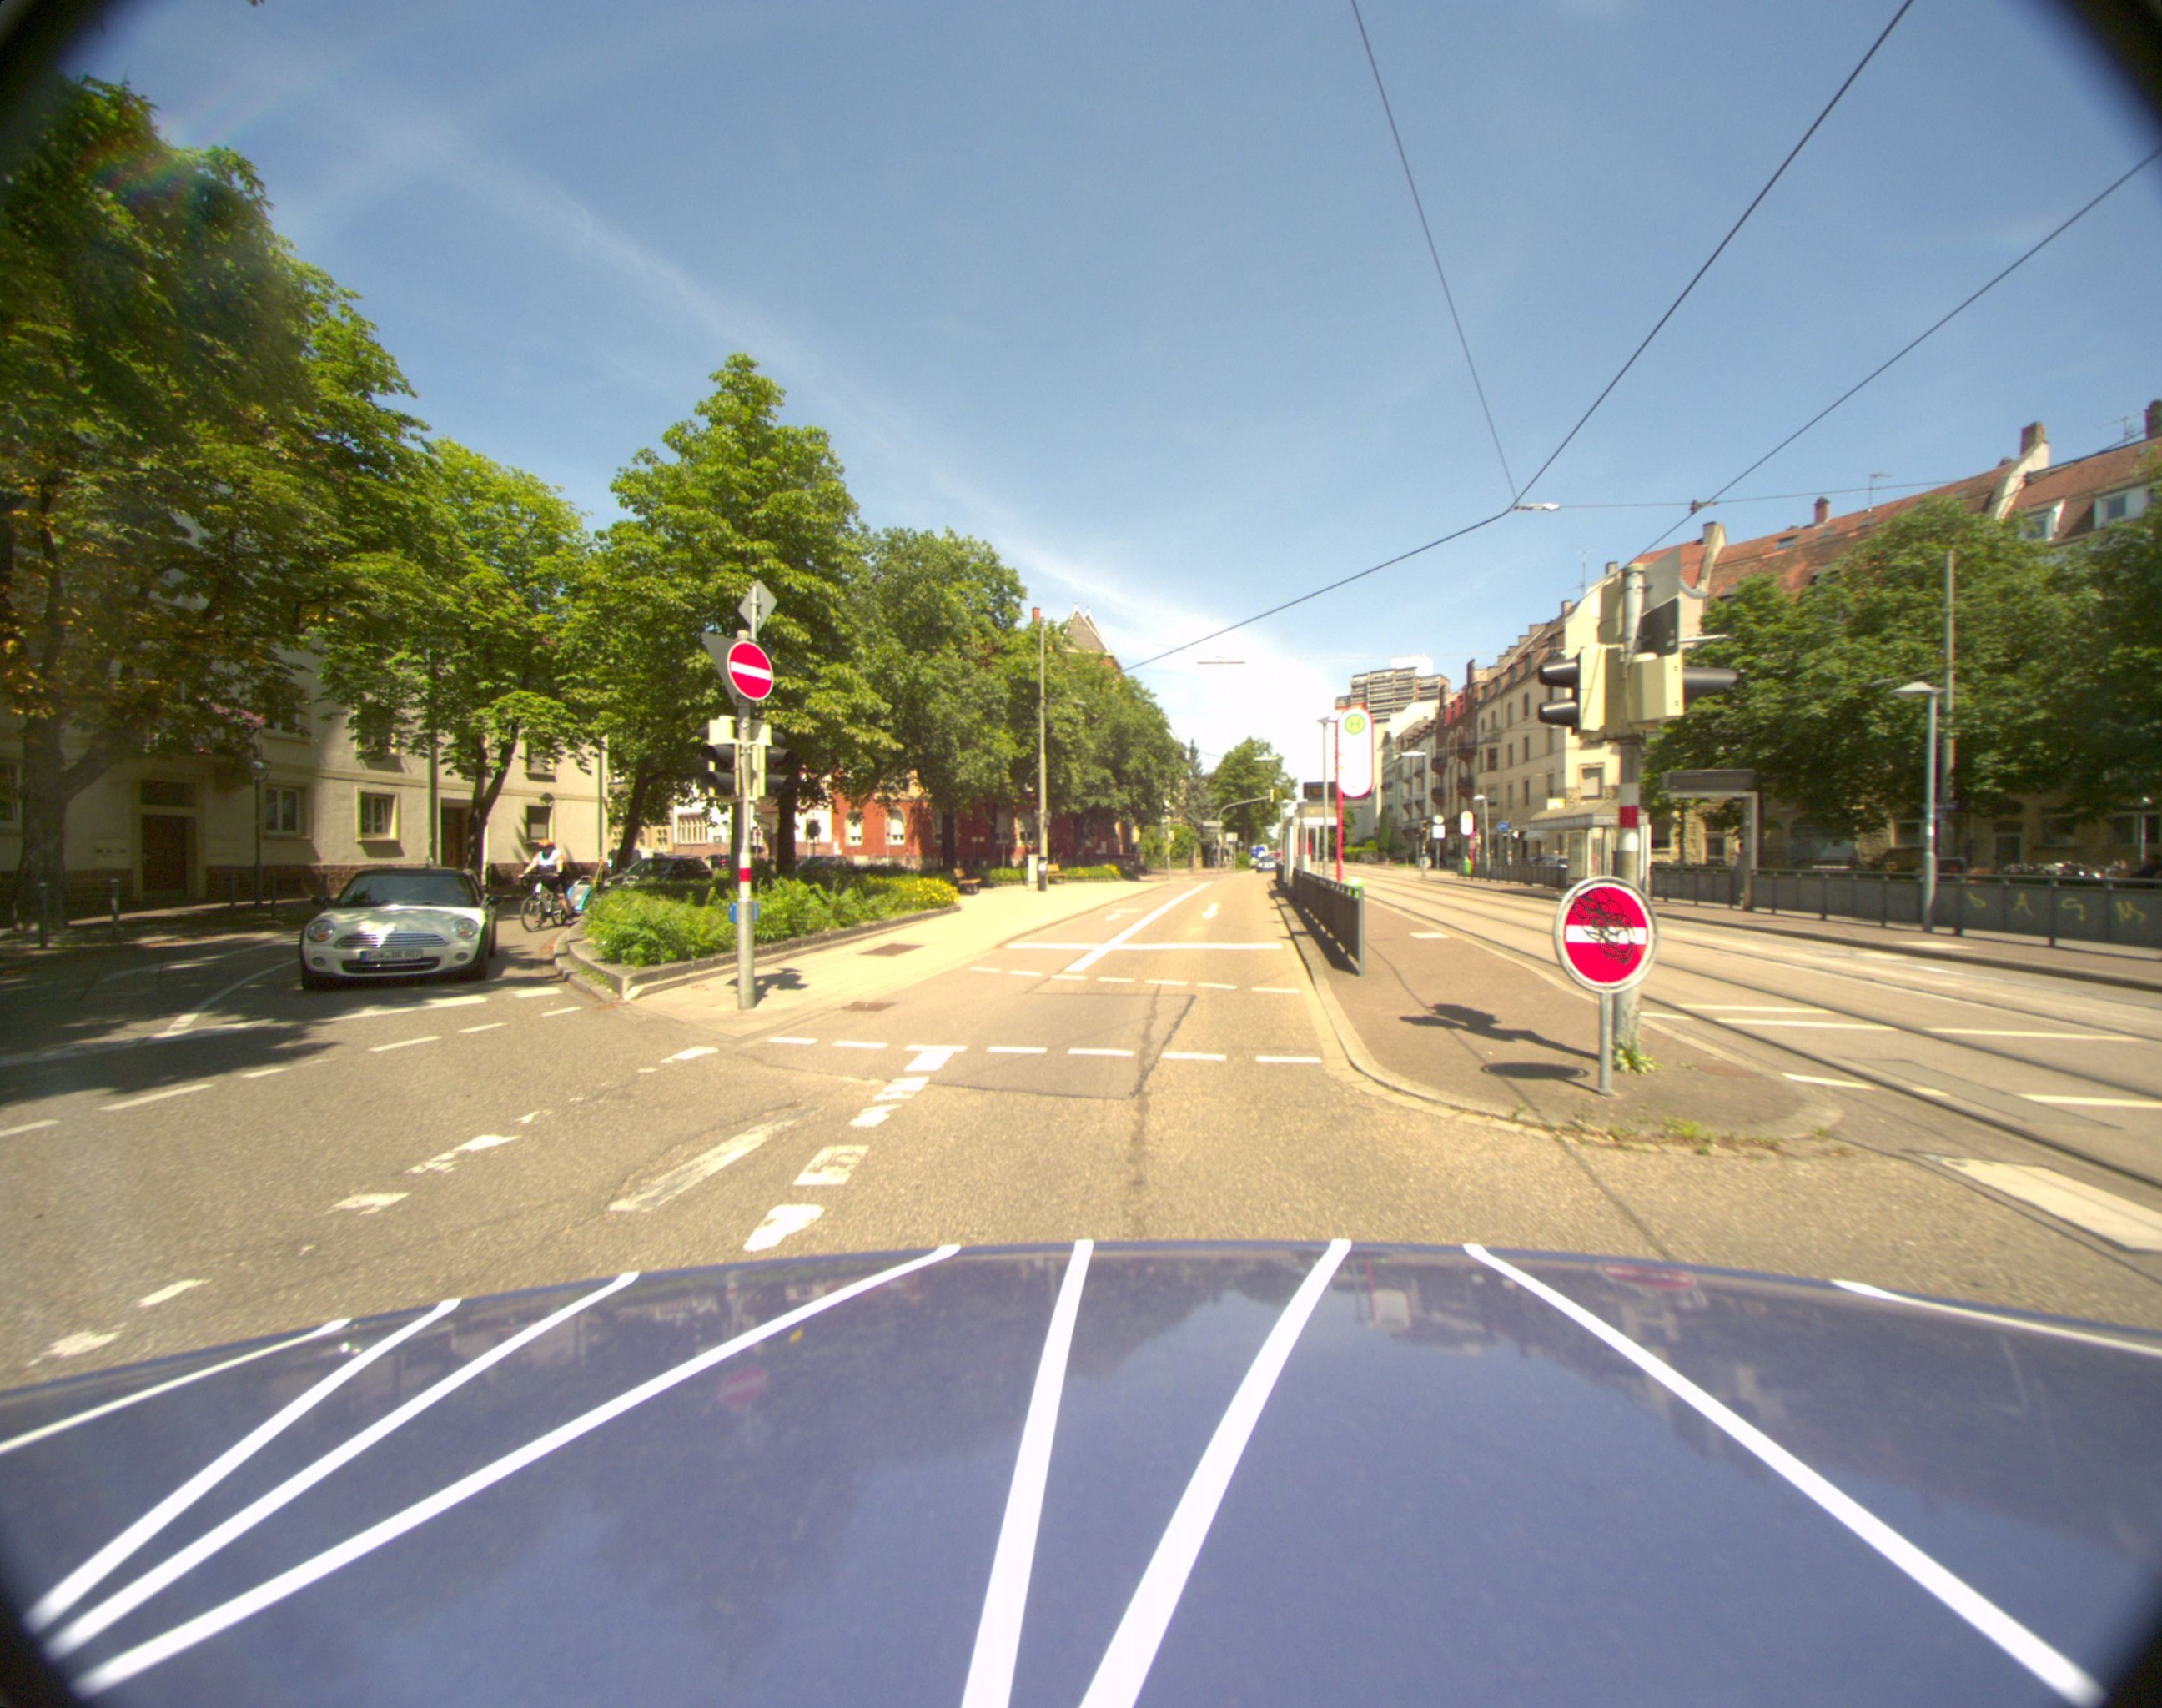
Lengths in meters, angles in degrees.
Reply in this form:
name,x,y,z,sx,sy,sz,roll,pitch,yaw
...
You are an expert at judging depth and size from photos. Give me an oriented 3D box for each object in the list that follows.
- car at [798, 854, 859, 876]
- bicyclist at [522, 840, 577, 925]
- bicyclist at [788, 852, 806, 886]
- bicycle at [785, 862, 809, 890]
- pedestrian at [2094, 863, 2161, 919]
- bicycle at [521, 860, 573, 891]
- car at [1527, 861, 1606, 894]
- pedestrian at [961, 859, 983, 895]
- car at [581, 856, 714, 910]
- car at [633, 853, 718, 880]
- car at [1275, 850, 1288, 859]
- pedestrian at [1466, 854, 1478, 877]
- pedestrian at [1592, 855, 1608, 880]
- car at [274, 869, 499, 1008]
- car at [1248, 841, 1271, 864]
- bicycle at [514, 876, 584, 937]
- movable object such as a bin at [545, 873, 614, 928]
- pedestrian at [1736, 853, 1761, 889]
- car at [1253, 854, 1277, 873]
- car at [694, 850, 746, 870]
name,x,y,z,sx,sy,sz,roll,pitch,yaw
car,-17.787,0.764,53.503,4.307,1.444,1.648,0,1,32
bicyclist,-11.234,0.581,16.081,0.699,1.756,0.863,-1,1,-17
bicyclist,-13.664,0.707,36.582,0.640,1.614,0.862,-1,1,-7
bicycle,-13.672,1.027,36.570,0.640,1.285,1.930,-1,0,-7
pedestrian,25.411,0.884,18.407,0.822,1.309,0.653,0,1,19
bicycle,-20.947,0.815,29.842,0.514,1.148,1.934,0,0,5
car,20.986,0.986,33.004,1.695,1.302,3.852,0,0,13
pedestrian,-3.639,0.760,25.338,0.652,1.143,0.643,-1,1,-3
car,-13.719,0.861,24.349,1.612,1.554,4.068,0,0,5
car,-24.785,0.751,46.621,1.640,1.554,4.328,0,1,33
car,32.810,0.105,124.167,1.735,1.543,4.428,0,0,11
pedestrian,29.278,0.834,56.924,0.807,1.710,0.764,0,1,28
pedestrian,29.602,0.753,43.337,0.536,1.433,0.521,0,1,3
car,-8.983,0.968,10.154,1.699,1.437,3.617,2,-1,-34
car,19.961,-0.201,85.158,2.234,2.478,5.270,0,1,11
bicycle,-11.227,1.069,16.091,0.682,1.148,1.801,-1,1,-17
movable object such as a bin,-11.725,1.055,17.817,0.869,1.148,1.761,-1,1,-17
pedestrian,26.730,0.680,30.445,0.536,1.433,0.521,0,1,3
car,15.408,0.792,63.697,1.735,1.543,4.428,0,0,11
car,-29.045,0.508,61.112,4.233,1.554,1.707,0,1,32
